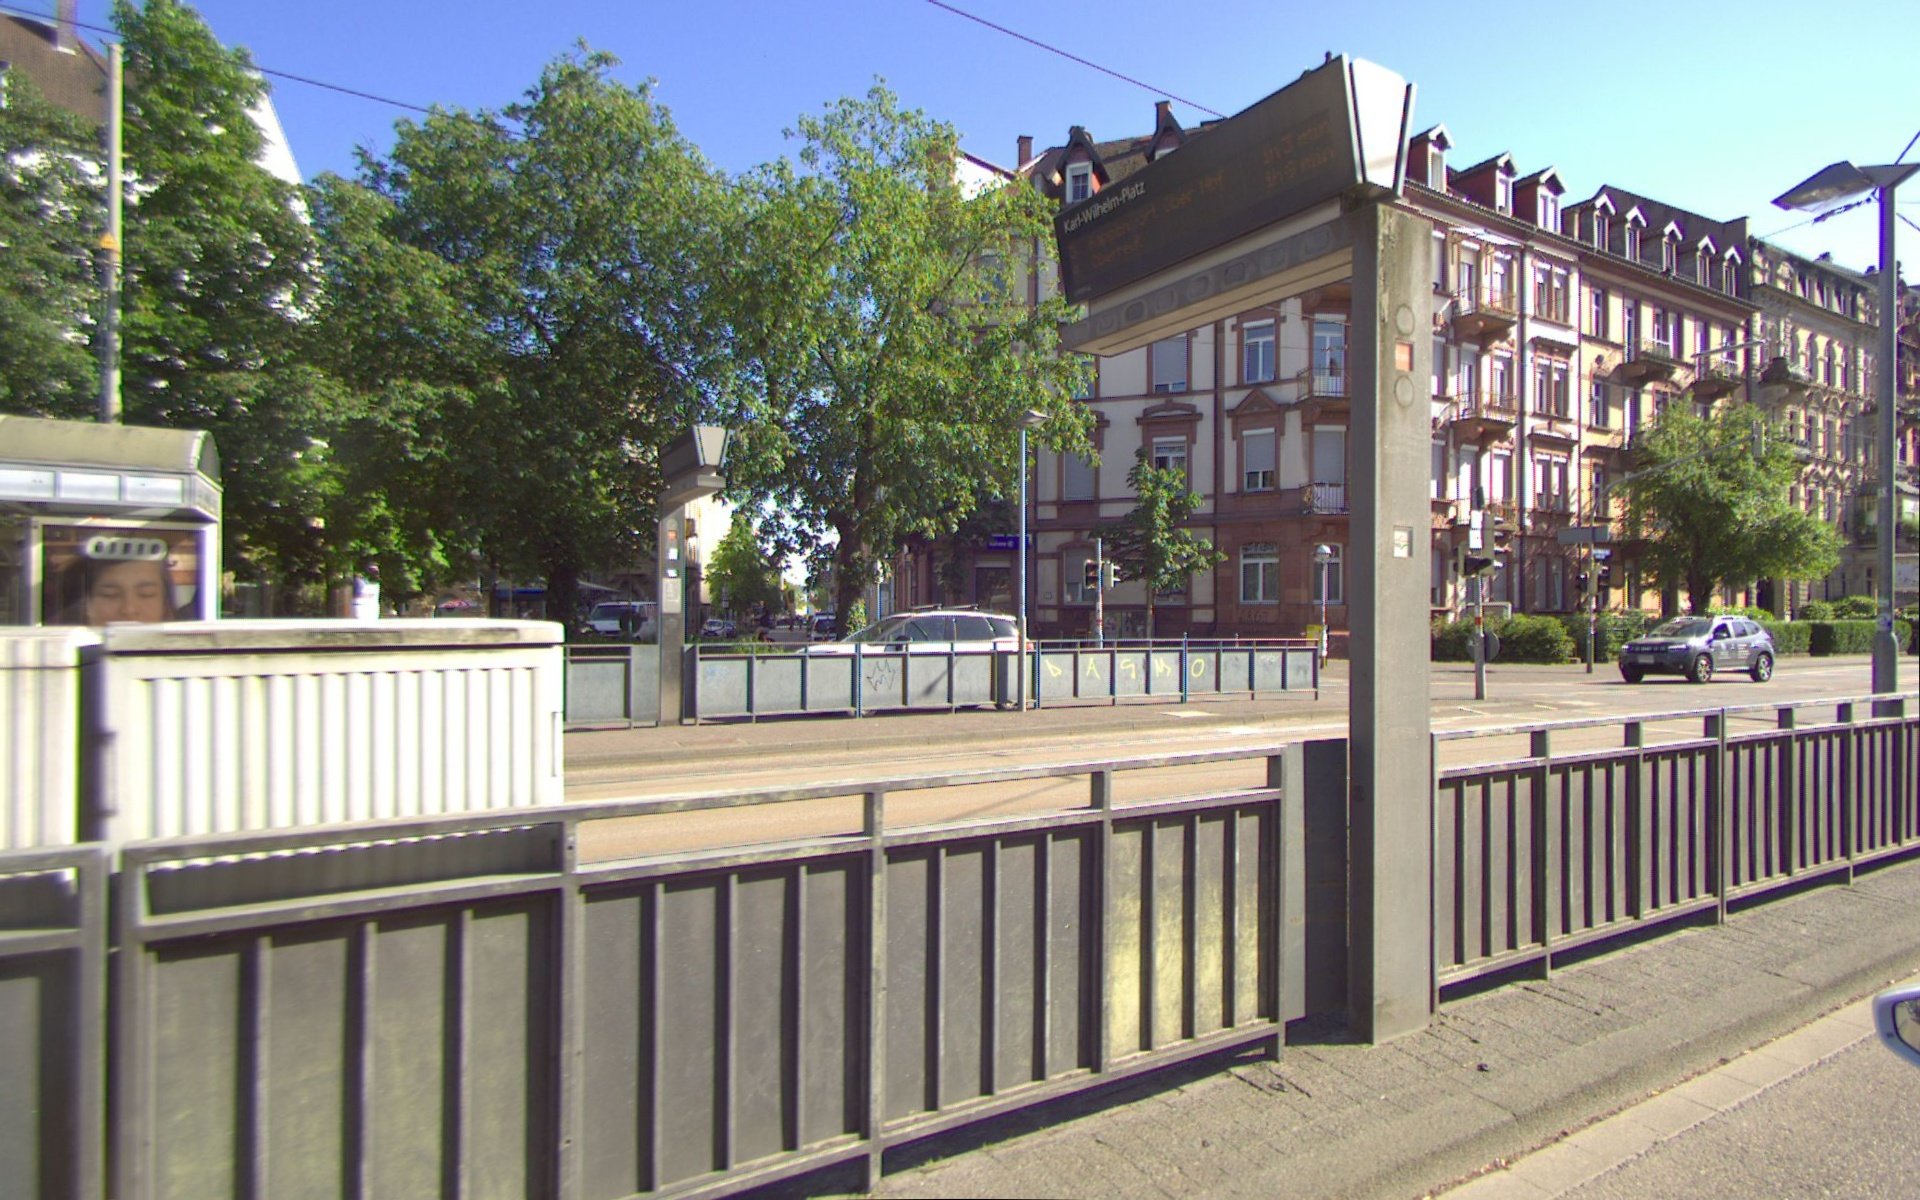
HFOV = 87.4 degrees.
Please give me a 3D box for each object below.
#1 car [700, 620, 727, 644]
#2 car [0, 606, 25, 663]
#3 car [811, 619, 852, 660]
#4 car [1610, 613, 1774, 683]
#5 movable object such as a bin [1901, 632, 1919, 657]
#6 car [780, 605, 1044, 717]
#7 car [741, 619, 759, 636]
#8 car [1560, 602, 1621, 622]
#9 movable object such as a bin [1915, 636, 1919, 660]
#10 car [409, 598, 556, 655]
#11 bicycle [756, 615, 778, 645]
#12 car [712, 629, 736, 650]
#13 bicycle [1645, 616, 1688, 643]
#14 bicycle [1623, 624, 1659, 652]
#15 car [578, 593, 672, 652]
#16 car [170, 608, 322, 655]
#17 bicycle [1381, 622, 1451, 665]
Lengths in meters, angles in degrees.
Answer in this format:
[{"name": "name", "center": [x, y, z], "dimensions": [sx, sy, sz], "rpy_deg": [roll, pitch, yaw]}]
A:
[{"name": "car", "center": [-18.416, 2.371, 75.205], "dimensions": [1.534, 1.623, 3.453], "rpy_deg": [1, 0, -7]}, {"name": "car", "center": [-22.634, 0.746, 21.778], "dimensions": [3.435, 1.232, 1.507], "rpy_deg": [1, 0, -45]}, {"name": "car", "center": [-5.534, 1.682, 43.424], "dimensions": [1.682, 1.623, 3.453], "rpy_deg": [1, 0, -7]}, {"name": "car", "center": [18.439, 1.194, 25.265], "dimensions": [4.217, 1.639, 1.887], "rpy_deg": [1, -3, -32]}, {"name": "movable object such as a bin", "center": [43.047, 2.009, 45.466], "dimensions": [0.534, 1.100, 0.477], "rpy_deg": [1, 1, -29]}, {"name": "car", "center": [-0.736, 0.905, 15.569], "dimensions": [3.749, 1.560, 1.685], "rpy_deg": [1, -3, -27]}, {"name": "car", "center": [-21.433, 2.758, 102.610], "dimensions": [1.534, 1.623, 3.453], "rpy_deg": [1, 0, -7]}, {"name": "car", "center": [58.066, 1.079, 92.583], "dimensions": [1.941, 1.665, 4.429], "rpy_deg": [1, 0, -27]}, {"name": "movable object such as a bin", "center": [43.871, 2.198, 45.676], "dimensions": [0.534, 1.100, 0.477], "rpy_deg": [1, 1, -29]}, {"name": "car", "center": [-14.208, 0.833, 30.168], "dimensions": [1.705, 1.562, 4.019], "rpy_deg": [-1, -3, 18]}, {"name": "bicycle", "center": [-6.776, 1.058, 35.368], "dimensions": [0.563, 1.006, 1.548], "rpy_deg": [1, 0, -4]}, {"name": "car", "center": [-19.529, 3.268, 83.192], "dimensions": [1.534, 1.623, 3.453], "rpy_deg": [1, 0, -7]}, {"name": "bicycle", "center": [24.627, 1.023, 34.994], "dimensions": [1.917, 0.938, 0.340], "rpy_deg": [1, 0, -26]}, {"name": "bicycle", "center": [23.089, 1.273, 34.071], "dimensions": [1.433, 0.938, 0.340], "rpy_deg": [1, 0, -26]}, {"name": "car", "center": [-12.107, 0.757, 36.638], "dimensions": [1.888, 1.968, 4.856], "rpy_deg": [1, 0, -2]}, {"name": "car", "center": [-18.301, 0.790, 25.808], "dimensions": [3.118, 1.110, 1.452], "rpy_deg": [1, 0, -39]}, {"name": "bicycle", "center": [14.815, 1.401, 32.663], "dimensions": [2.004, 1.313, 0.420], "rpy_deg": [1, 1, 12]}]
